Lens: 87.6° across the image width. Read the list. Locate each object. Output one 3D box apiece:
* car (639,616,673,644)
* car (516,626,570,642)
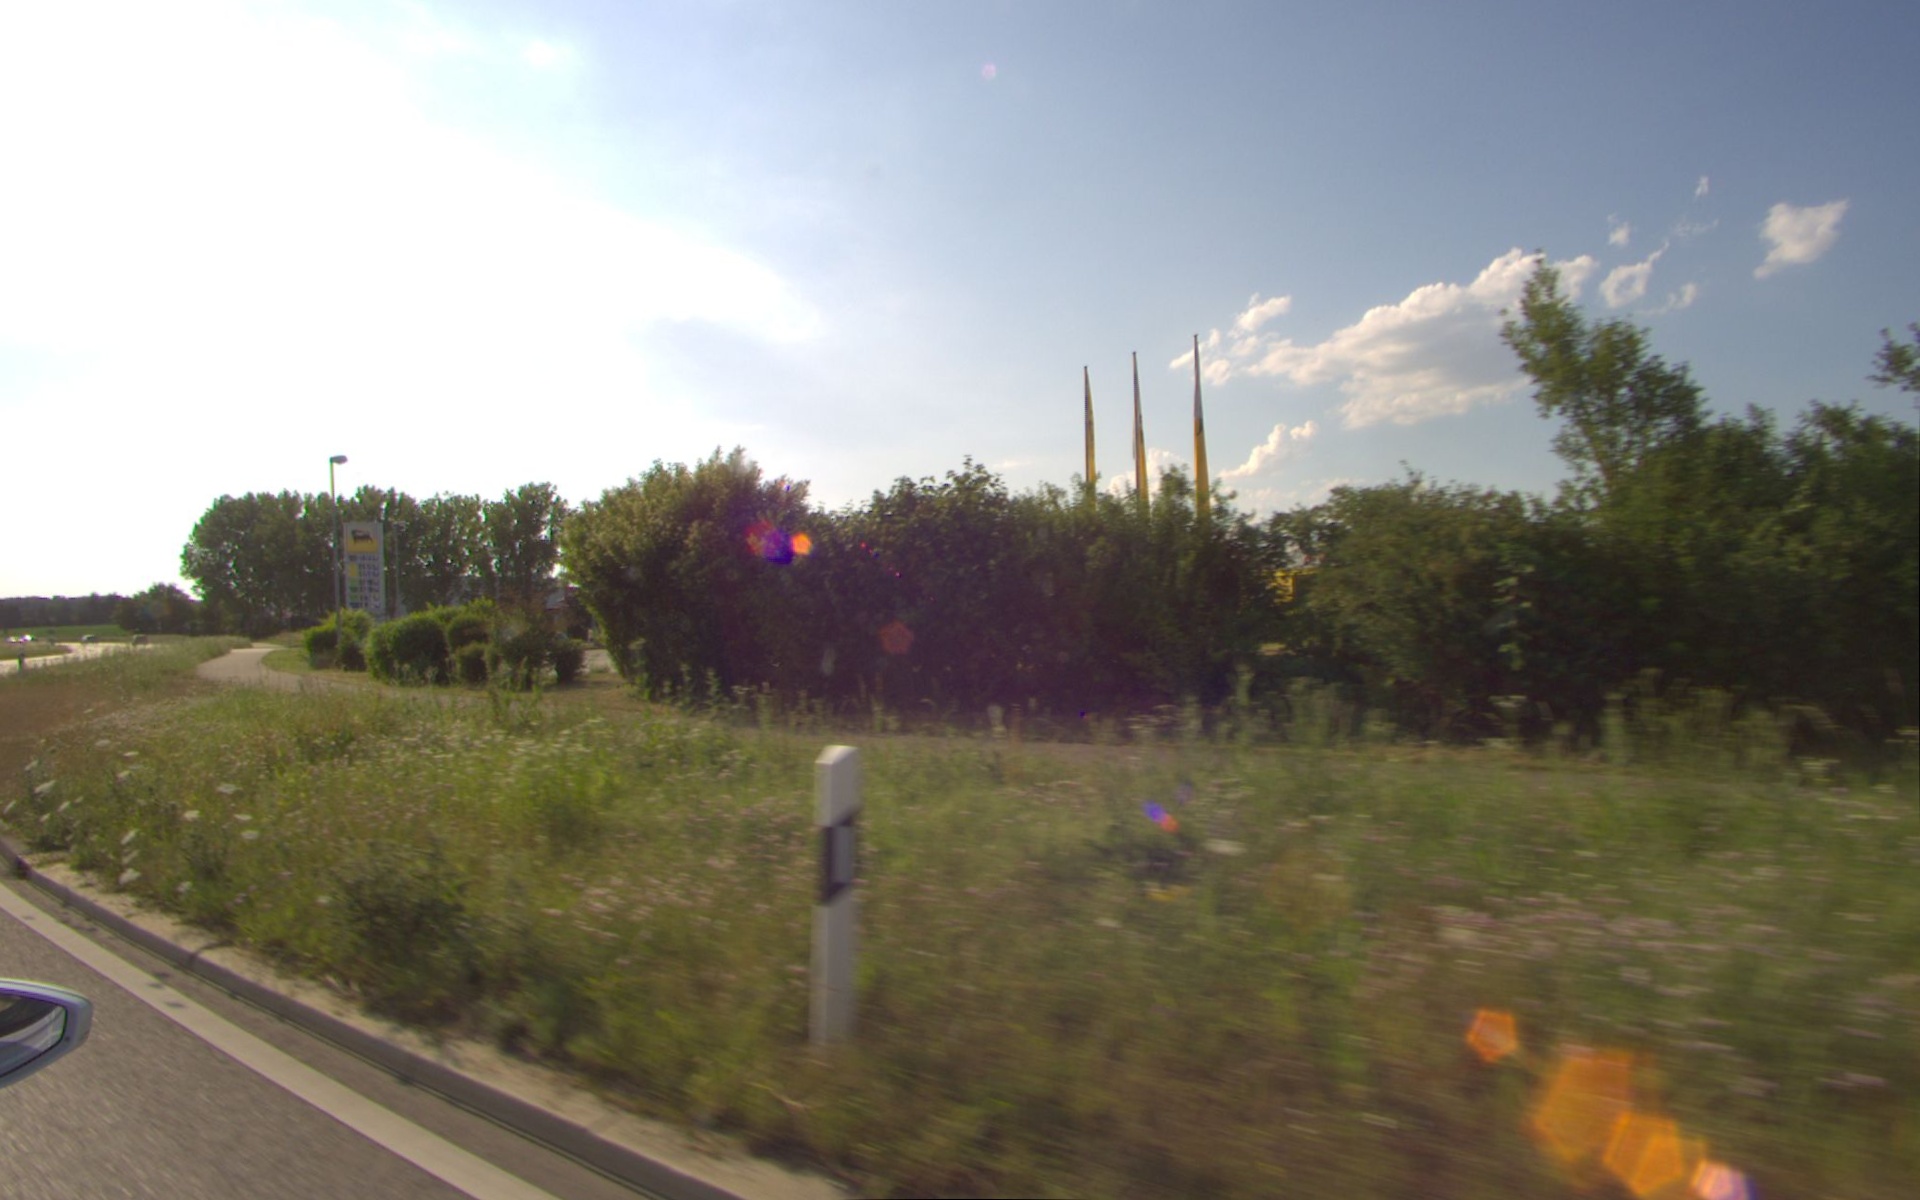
[{"bbox_3d":[-30.068,3.002,99.162,2.194,2.549,6.821,0,-3,-8],"label":"car"},{"bbox_3d":[-32.975,2.686,79.203,3.849,1.217,1.598,-1,-3,21],"label":"car"}]
